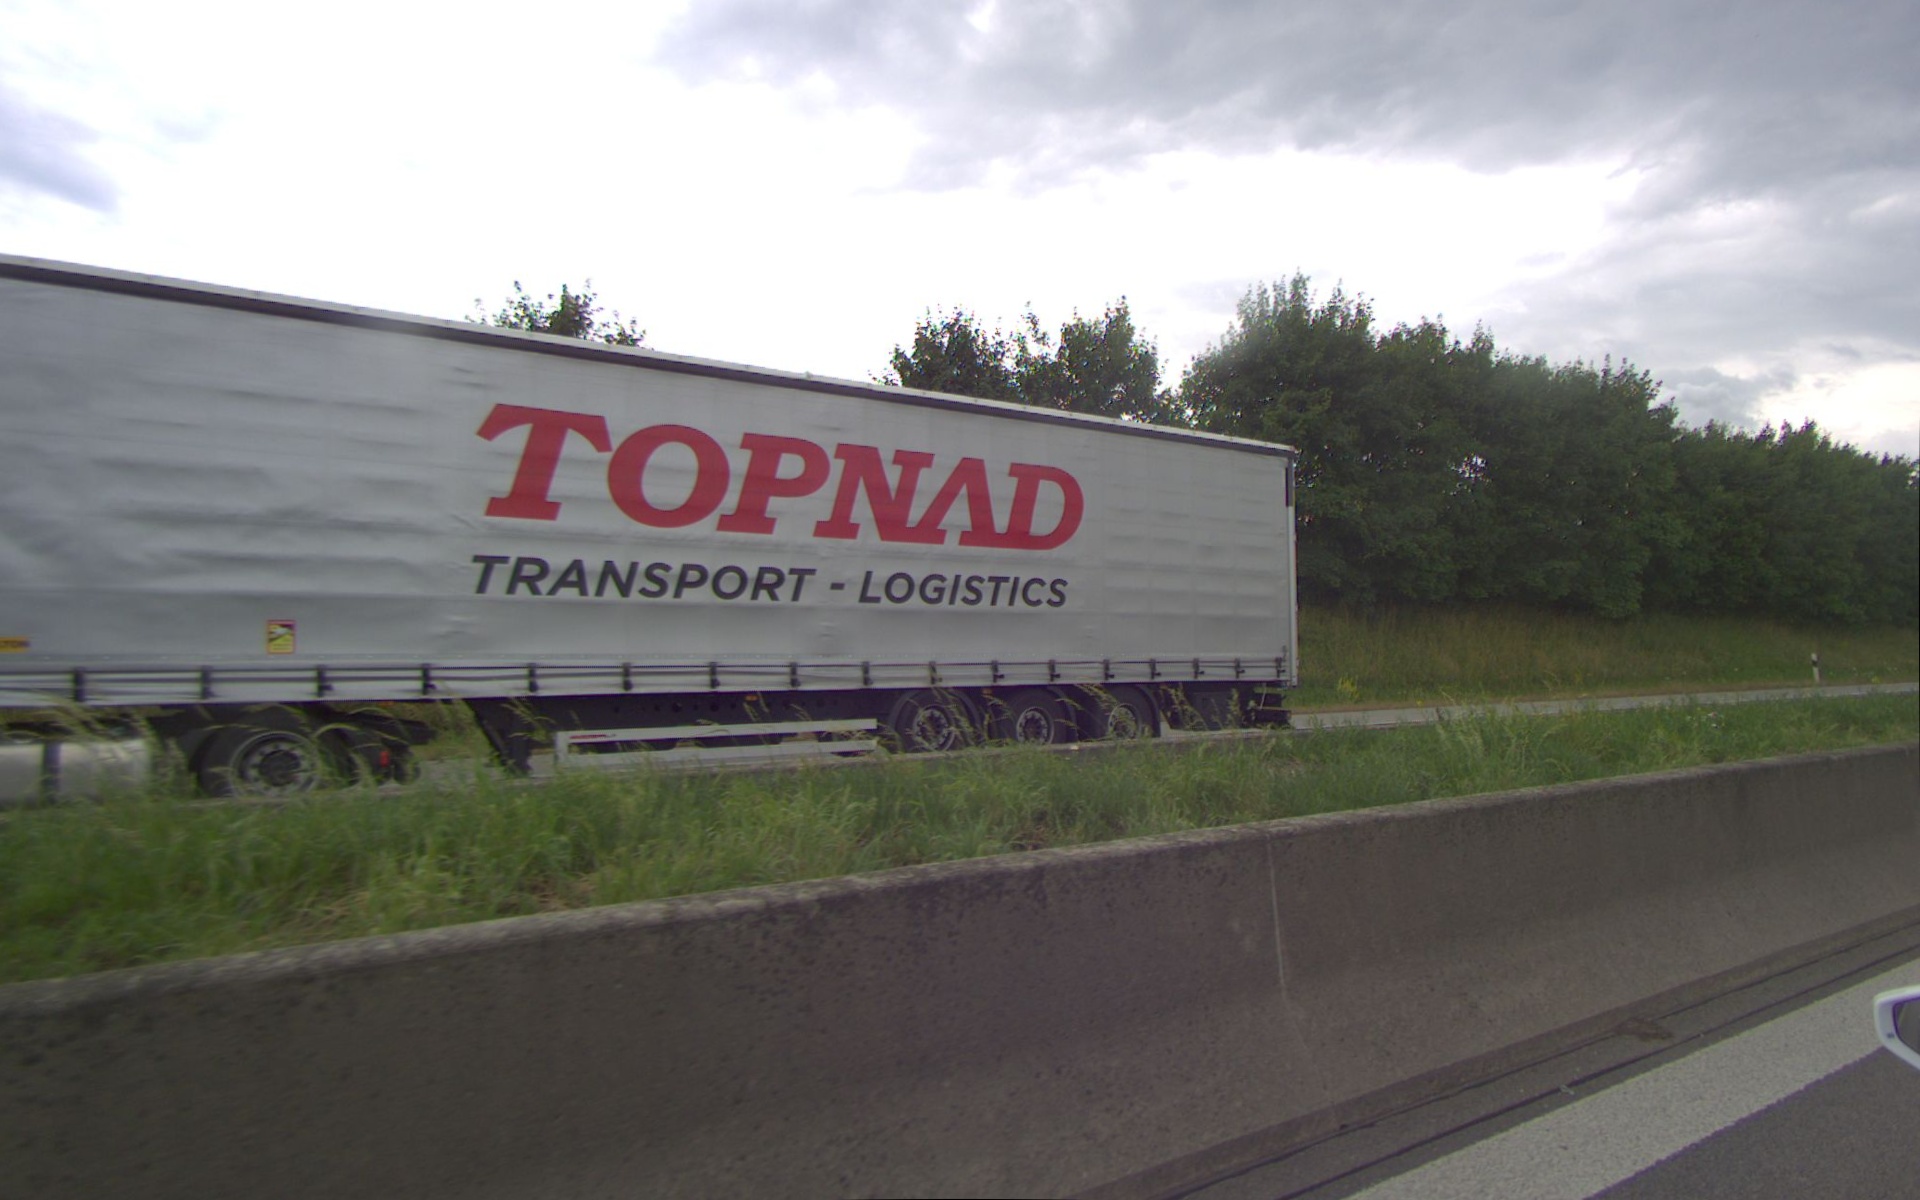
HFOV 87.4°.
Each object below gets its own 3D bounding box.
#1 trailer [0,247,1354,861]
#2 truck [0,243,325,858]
[{"bbox_3d":[-1.532,-0.184,11.242,14.426,4.142,2.694,1,-3,-31],"label":"trailer"},{"bbox_3d":[-7.859,-0.297,7.490,5.104,4.142,2.694,1,-3,-30],"label":"truck"}]
